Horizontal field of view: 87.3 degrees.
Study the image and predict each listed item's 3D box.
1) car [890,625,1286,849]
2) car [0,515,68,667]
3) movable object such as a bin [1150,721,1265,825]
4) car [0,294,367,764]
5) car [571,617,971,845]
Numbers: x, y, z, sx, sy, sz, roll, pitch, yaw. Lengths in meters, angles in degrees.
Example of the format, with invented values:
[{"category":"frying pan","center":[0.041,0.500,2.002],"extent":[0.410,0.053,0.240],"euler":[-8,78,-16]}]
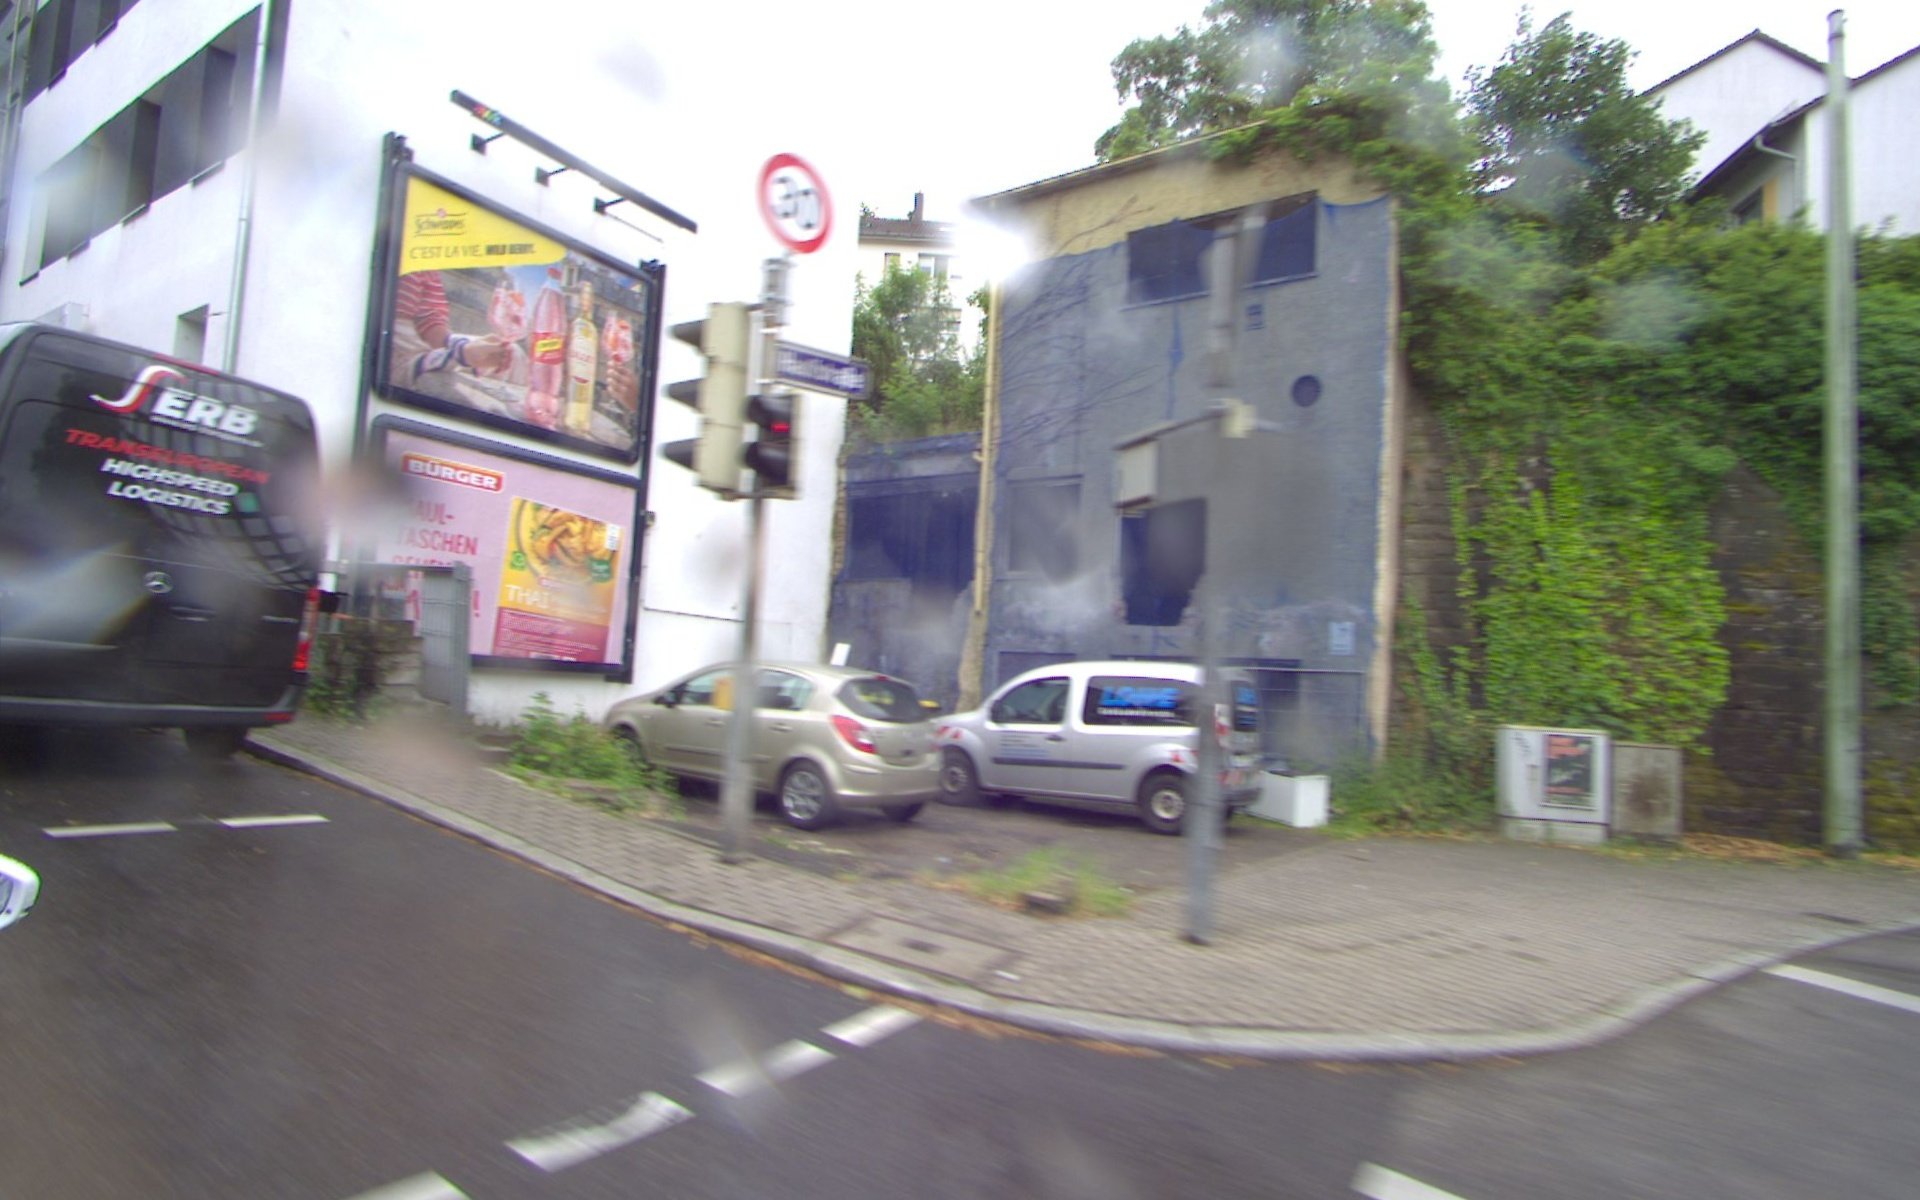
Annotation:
[{"category":"car","center":[1.451,1.517,11.990],"extent":[4.173,1.933,1.732],"euler":[5,-4,33]},{"category":"car","center":[-11.967,-0.367,11.143],"extent":[4.268,1.528,1.998],"euler":[6,-4,34]},{"category":"movable object such as a bin","center":[3.239,2.242,13.153],"extent":[1.105,1.153,0.943],"euler":[5,-4,35]},{"category":"car","center":[-7.024,-0.443,7.479],"extent":[5.745,2.439,1.997],"euler":[4,-4,34]},{"category":"car","center":[-2.040,1.243,10.391],"extent":[3.936,1.500,1.565],"euler":[8,-3,34]}]
